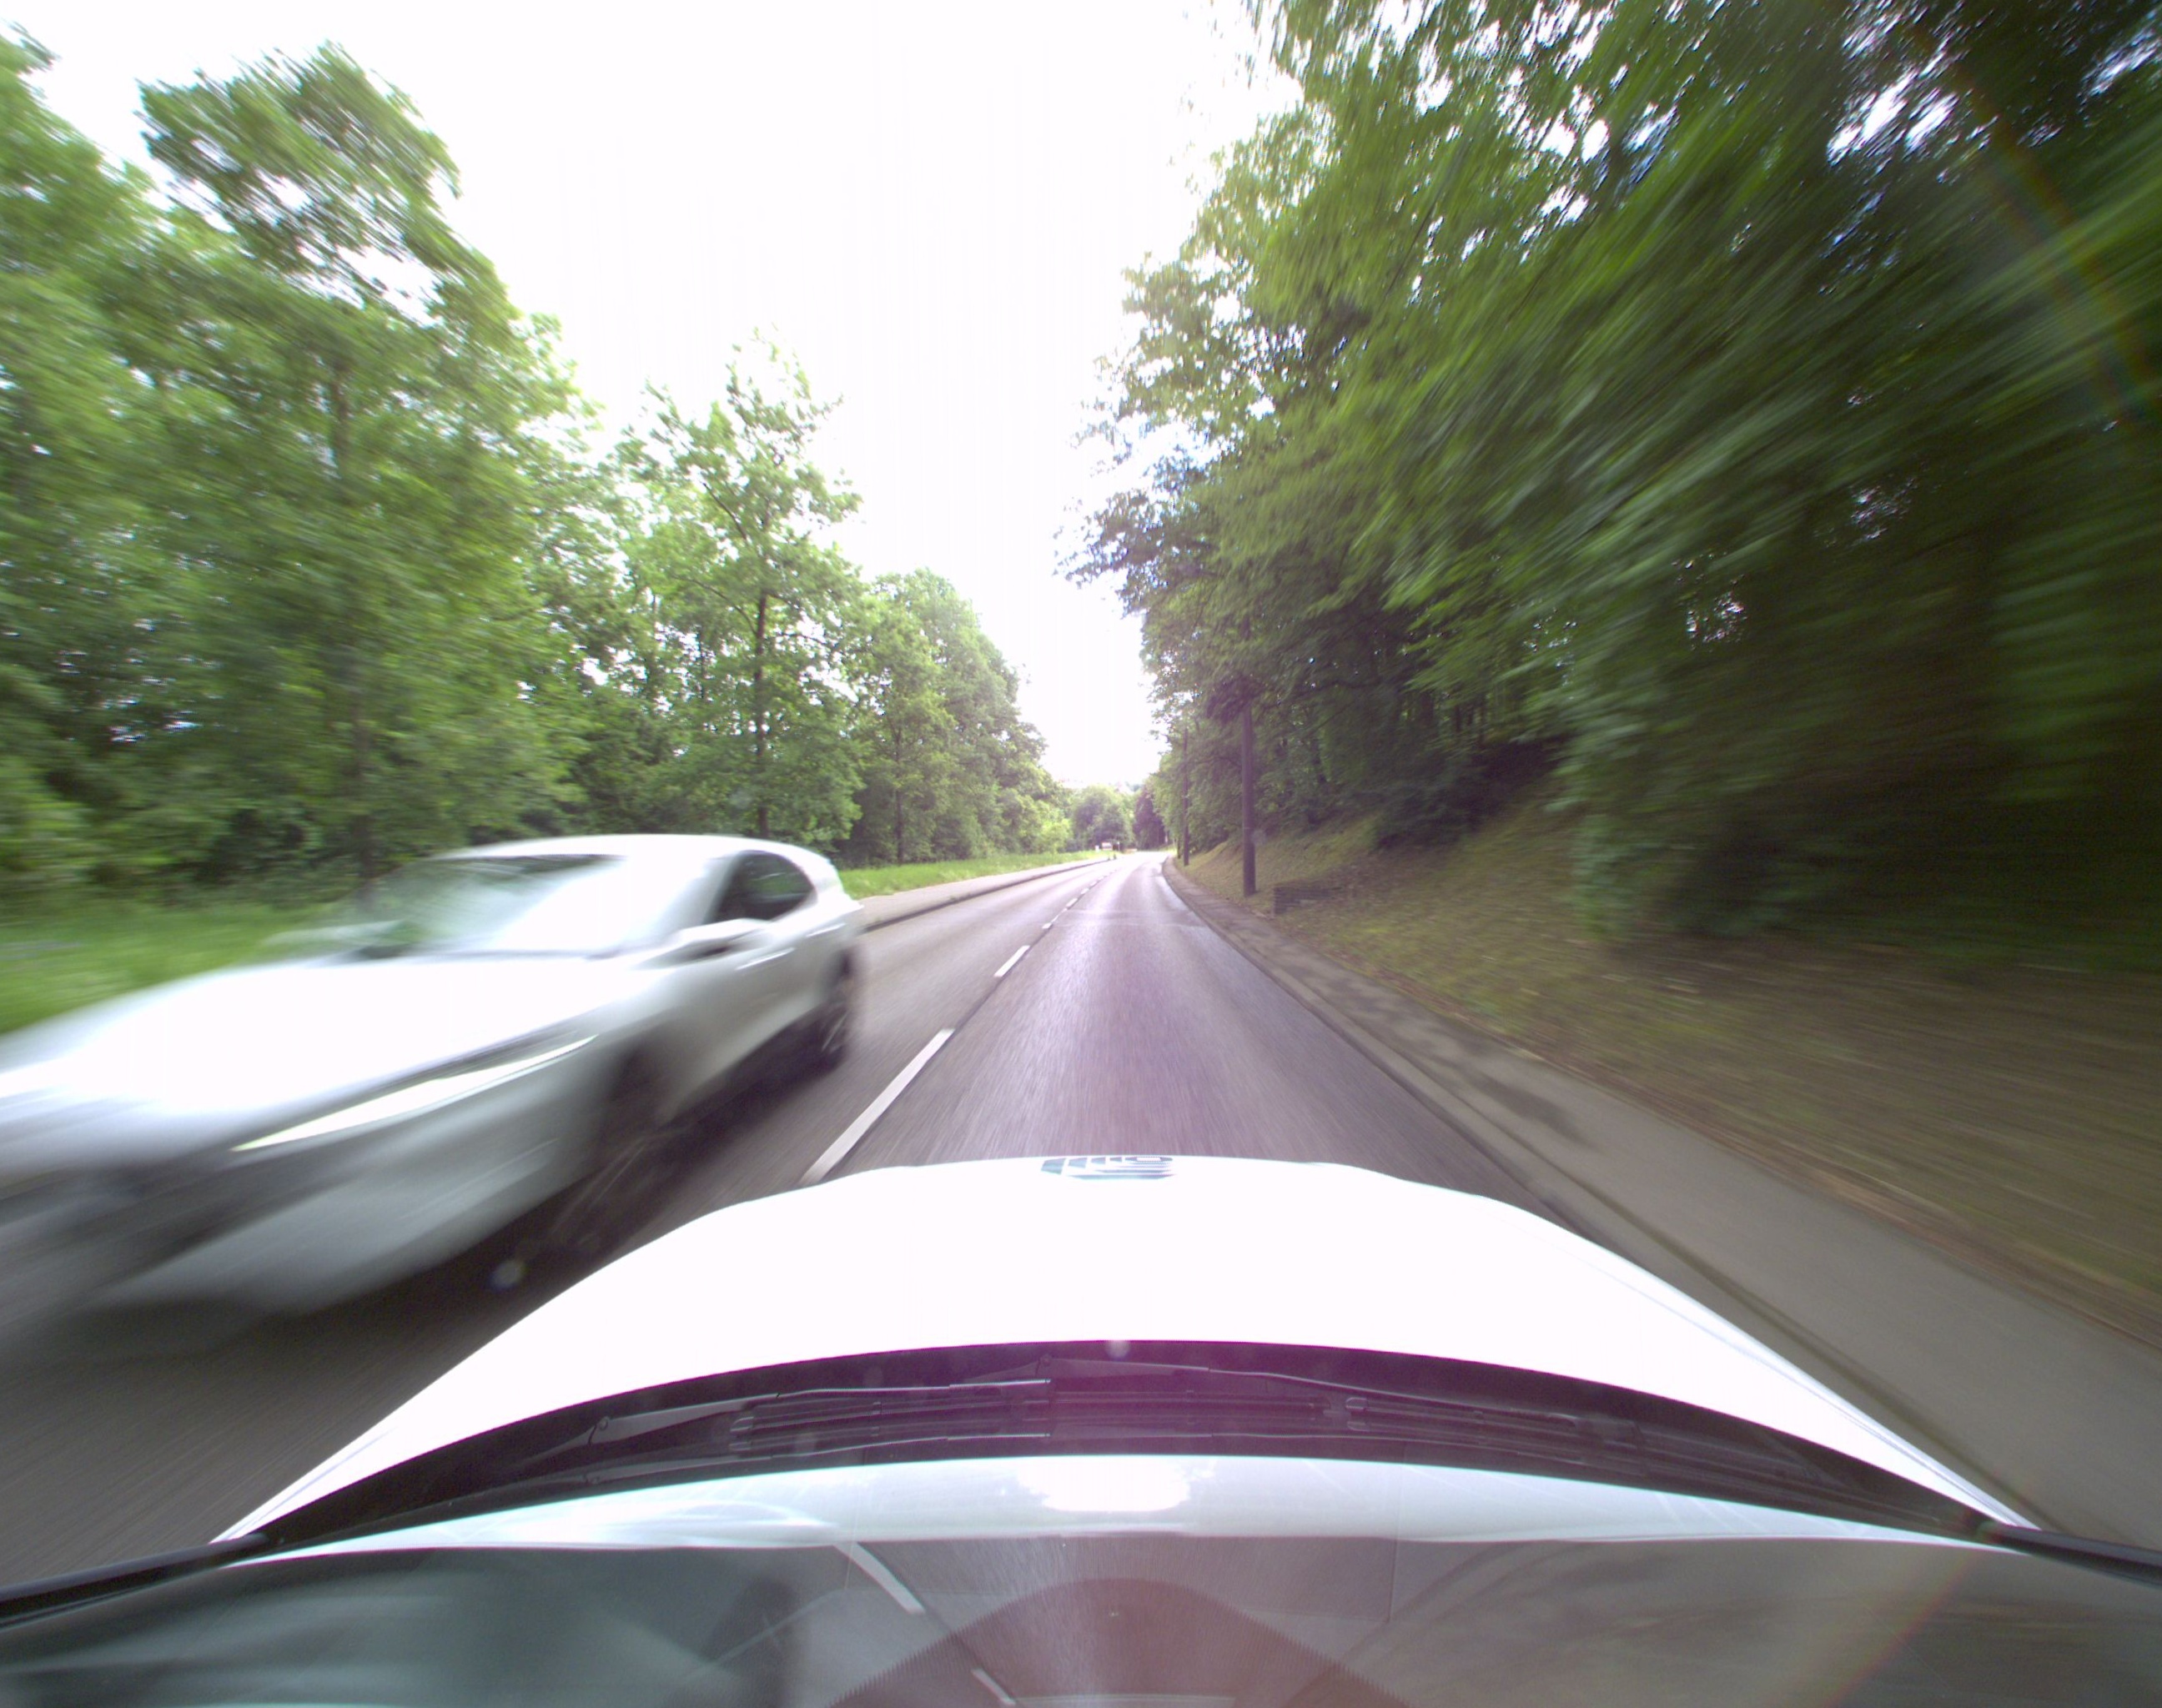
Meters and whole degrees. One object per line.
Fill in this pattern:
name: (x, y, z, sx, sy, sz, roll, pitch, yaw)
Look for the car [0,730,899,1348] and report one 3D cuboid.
car: (-2.692, 0.548, 4.734, 1.986, 1.753, 4.785, -1, 0, 2)
